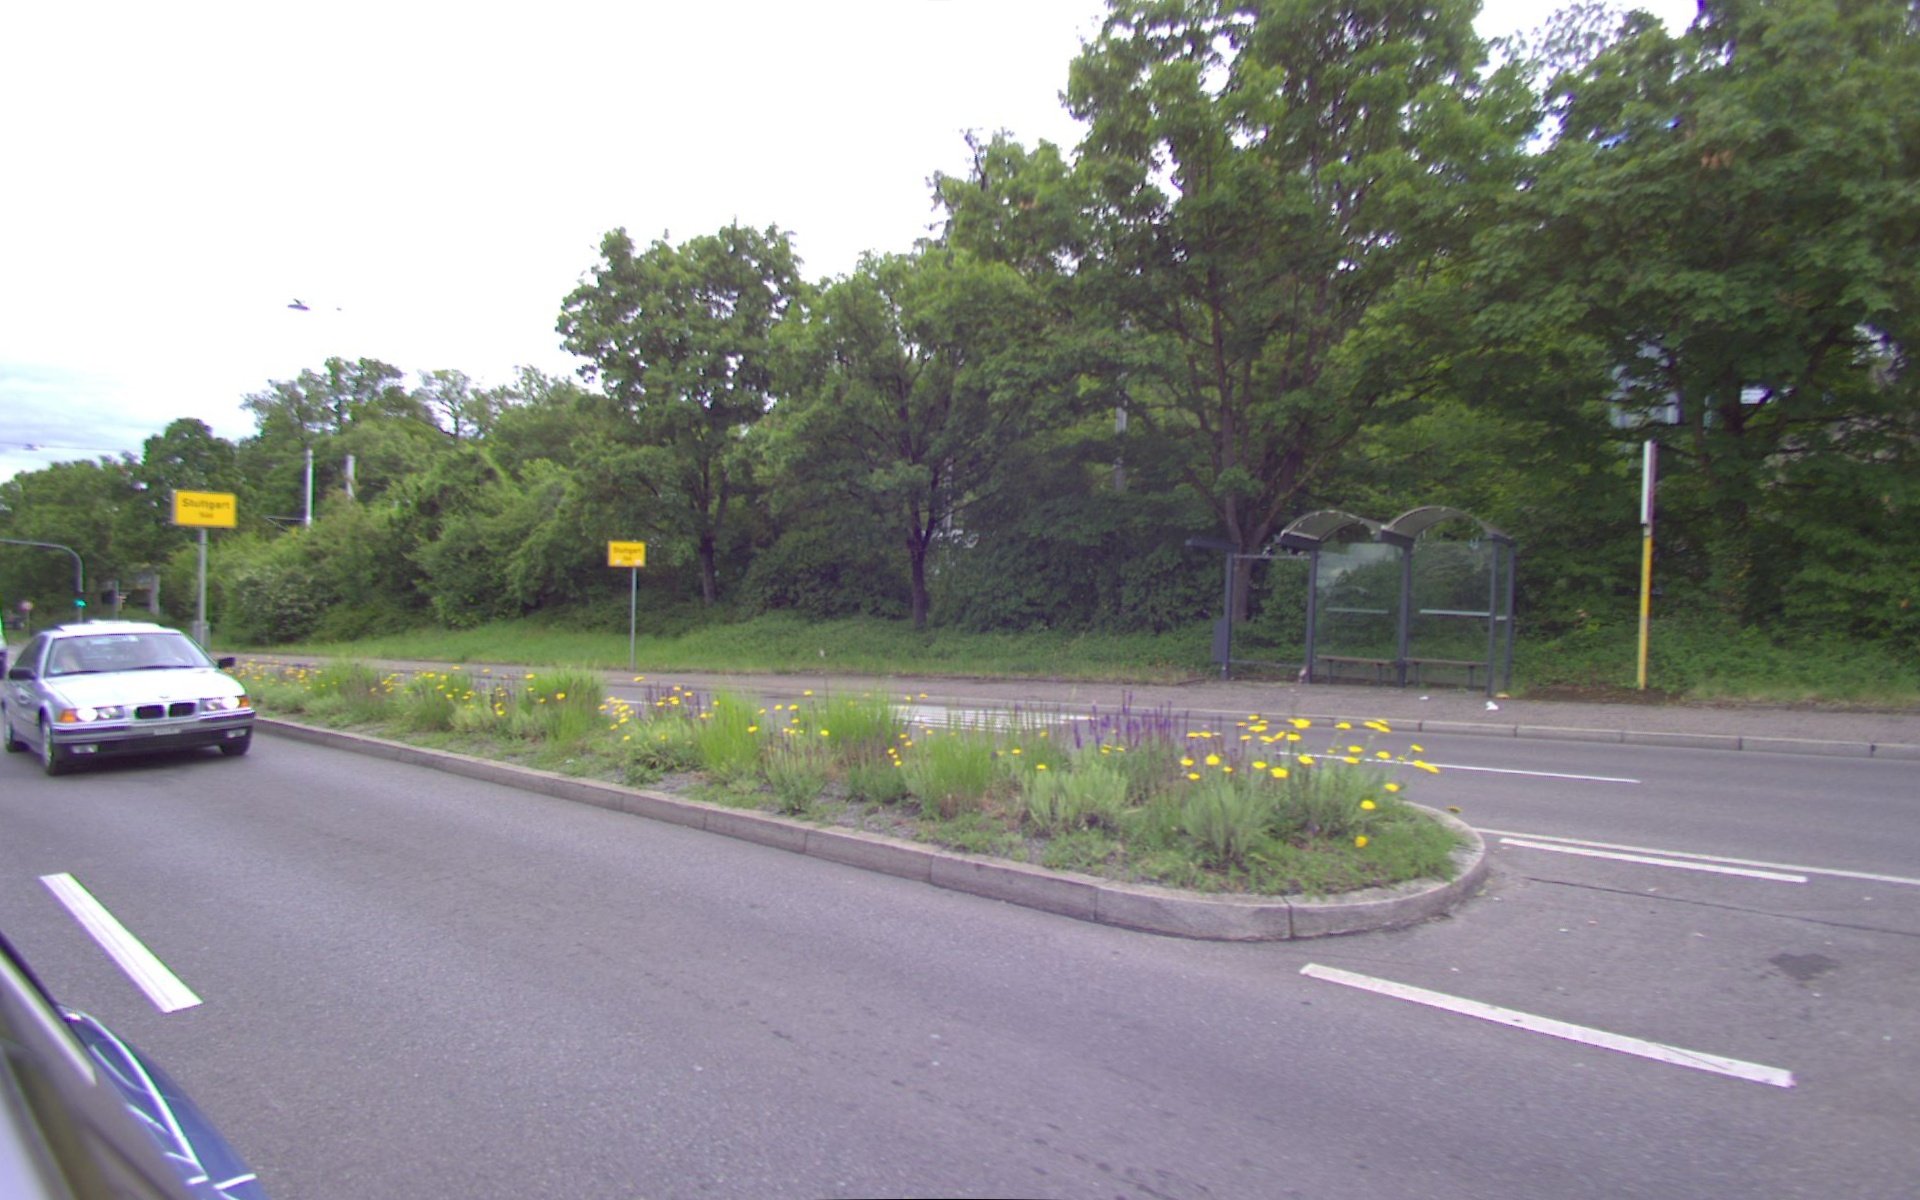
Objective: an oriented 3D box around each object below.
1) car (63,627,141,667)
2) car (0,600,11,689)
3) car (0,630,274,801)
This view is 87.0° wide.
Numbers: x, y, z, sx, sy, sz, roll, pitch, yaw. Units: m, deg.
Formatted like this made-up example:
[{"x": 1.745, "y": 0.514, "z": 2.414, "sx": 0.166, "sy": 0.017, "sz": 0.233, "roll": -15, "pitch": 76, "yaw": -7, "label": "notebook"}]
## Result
[{"x": -36.631, "y": 1.982, "z": 43.183, "sx": 4.036, "sy": 1.552, "sz": 1.713, "roll": -2, "pitch": -1, "yaw": 37, "label": "car"}, {"x": -26.108, "y": 1.146, "z": 25.562, "sx": 6.661, "sy": 2.142, "sz": 2.225, "roll": -2, "pitch": -1, "yaw": 39, "label": "car"}, {"x": -9.037, "y": 1.058, "z": 10.832, "sx": 4.613, "sy": 1.404, "sz": 1.734, "roll": -2, "pitch": -1, "yaw": 42, "label": "car"}]
